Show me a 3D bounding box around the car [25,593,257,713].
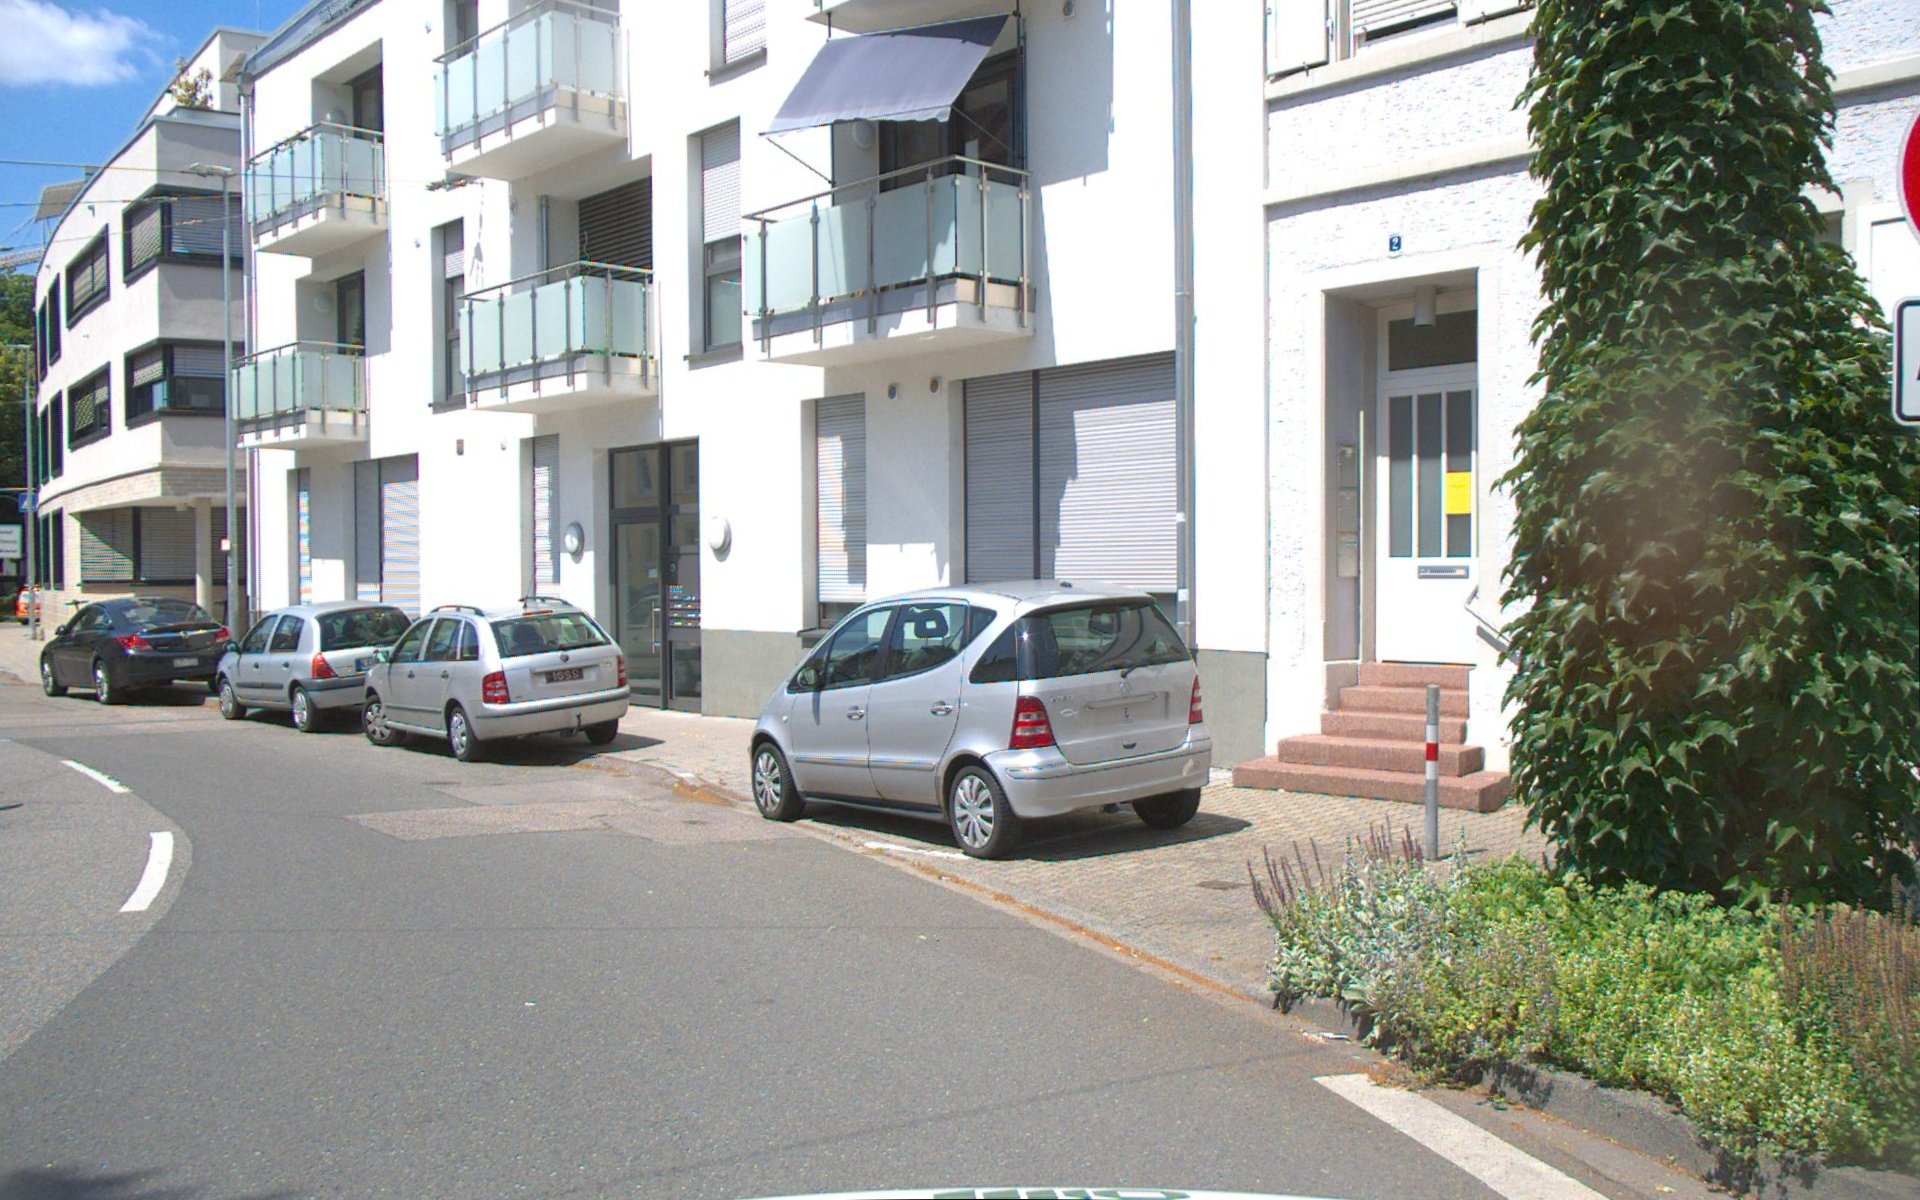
[{"bbox_3d":[-12.511,0.747,25.143,1.793,1.535,4.473,-6,4,-44],"label":"car"}]

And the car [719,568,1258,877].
[{"bbox_3d":[0.027,0.684,11.200,1.713,1.638,3.752,-4,2,-36],"label":"car"}]

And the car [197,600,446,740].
[{"bbox_3d":[-7.988,0.801,20.550,1.585,1.457,3.648,-6,4,-42],"label":"car"}]

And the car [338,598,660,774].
[{"bbox_3d":[-4.849,0.780,17.066,1.716,1.457,3.986,-6,4,-38],"label":"car"}]
